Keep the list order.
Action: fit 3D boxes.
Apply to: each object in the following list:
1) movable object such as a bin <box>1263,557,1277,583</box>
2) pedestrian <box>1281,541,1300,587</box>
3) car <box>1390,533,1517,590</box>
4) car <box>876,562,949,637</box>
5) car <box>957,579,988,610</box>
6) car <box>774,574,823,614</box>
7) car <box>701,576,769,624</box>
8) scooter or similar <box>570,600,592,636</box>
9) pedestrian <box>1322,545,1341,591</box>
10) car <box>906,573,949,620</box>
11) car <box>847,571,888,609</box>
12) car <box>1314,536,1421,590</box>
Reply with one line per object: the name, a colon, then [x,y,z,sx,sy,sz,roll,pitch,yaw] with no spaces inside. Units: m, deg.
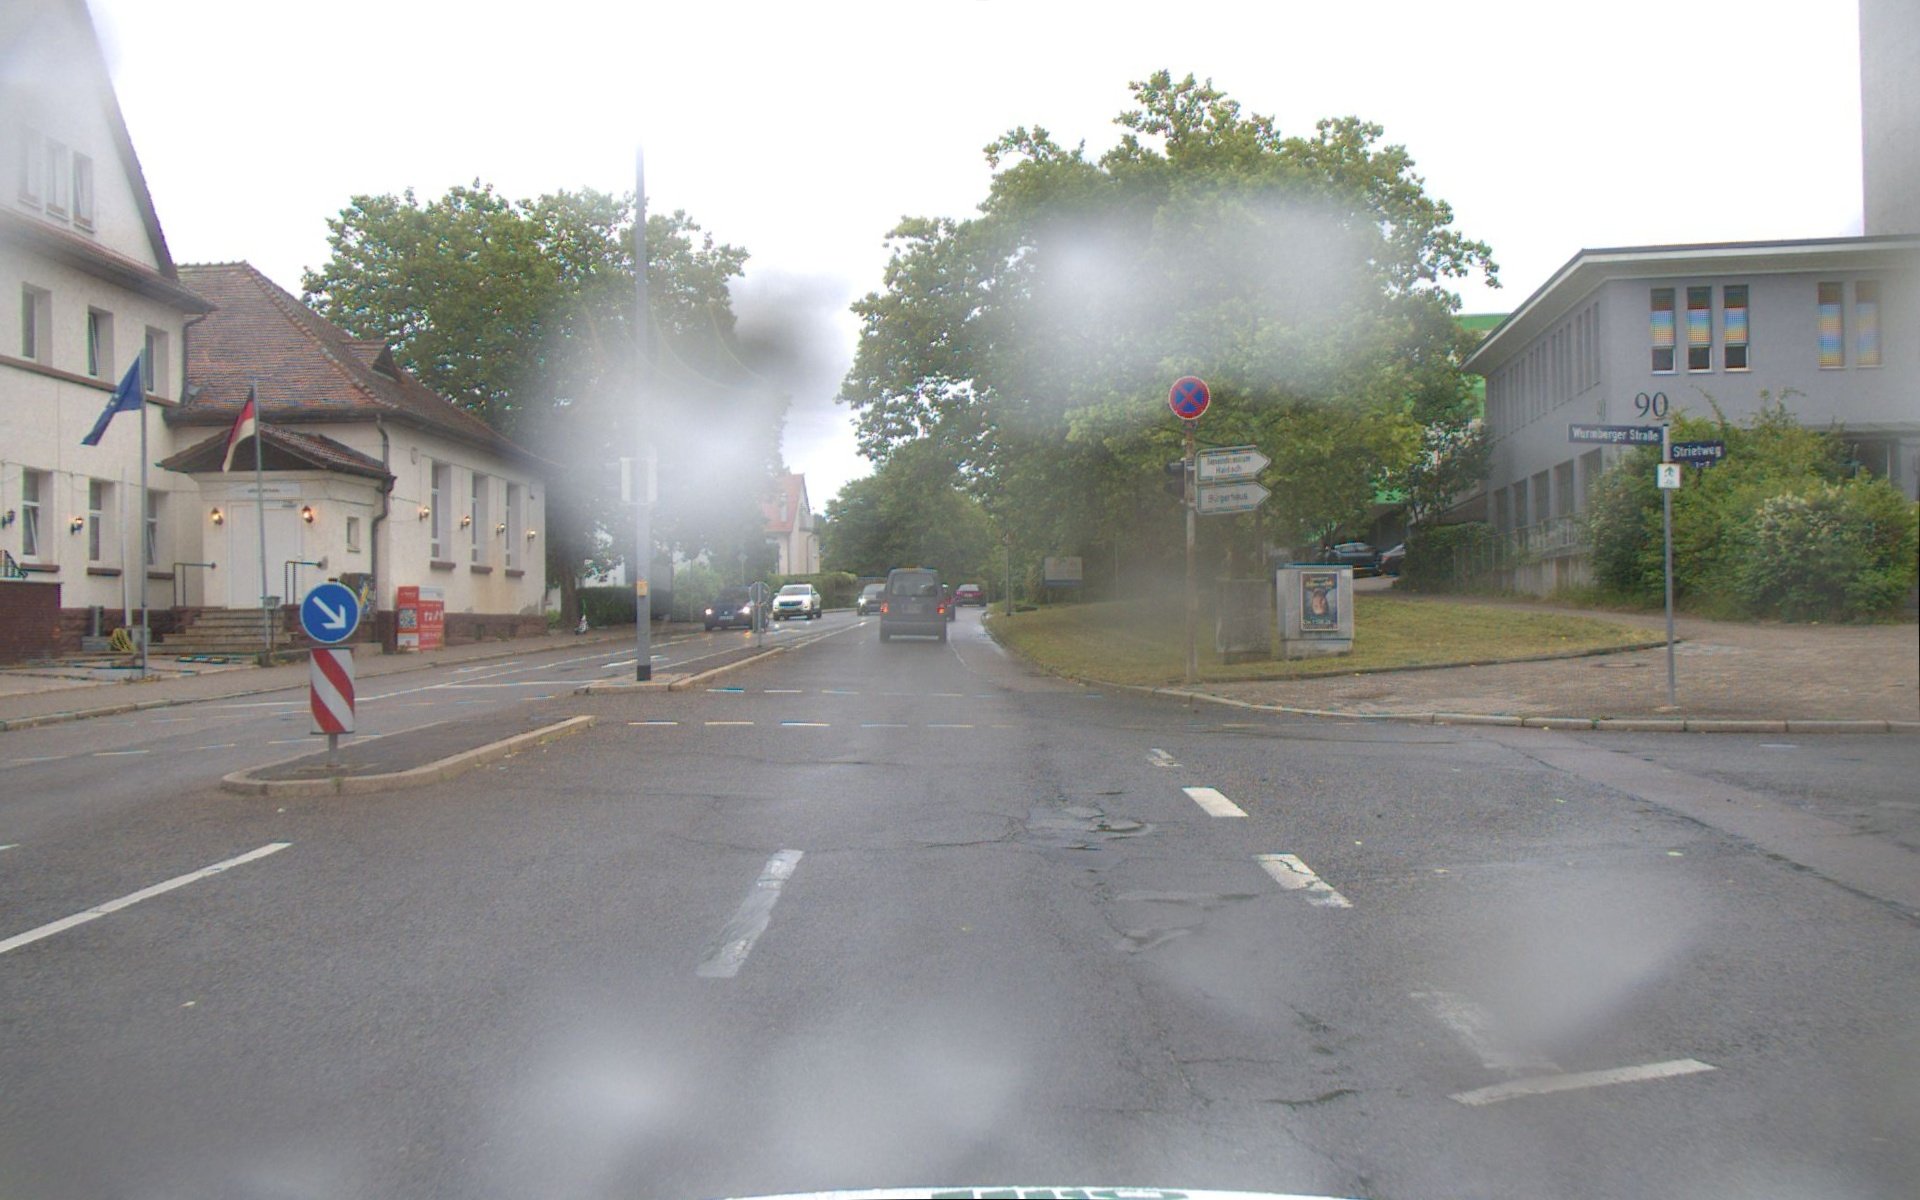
movable object such as a bin: [11.336,-1.095,60.474,0.440,0.921,0.463,1,0,17]
pedestrian: [12.910,-1.402,64.612,0.546,1.794,0.728,1,0,-3]
car: [16.816,-1.307,56.533,3.902,1.847,2.002,1,0,10]
car: [-1.210,-0.017,43.104,1.775,1.840,3.756,1,0,-1]
car: [0.789,-0.369,106.890,1.953,1.914,4.000,1,0,0]
car: [-7.296,-0.307,74.883,1.792,1.700,4.051,-1,1,0]
car: [-7.810,-0.020,57.730,1.756,1.554,4.209,-1,1,0]
scooter or similar: [-11.652,0.538,50.910,0.382,1.083,1.410,1,0,-2]
pedestrian: [13.362,-1.153,59.511,0.588,1.645,0.526,1,0,9]
car: [-1.316,-0.136,66.875,1.670,1.840,3.684,1,0,-1]
car: [-4.397,-0.481,78.699,1.712,1.700,3.707,-1,1,0]
car: [15.726,-1.424,64.013,3.902,1.964,2.002,1,0,11]
